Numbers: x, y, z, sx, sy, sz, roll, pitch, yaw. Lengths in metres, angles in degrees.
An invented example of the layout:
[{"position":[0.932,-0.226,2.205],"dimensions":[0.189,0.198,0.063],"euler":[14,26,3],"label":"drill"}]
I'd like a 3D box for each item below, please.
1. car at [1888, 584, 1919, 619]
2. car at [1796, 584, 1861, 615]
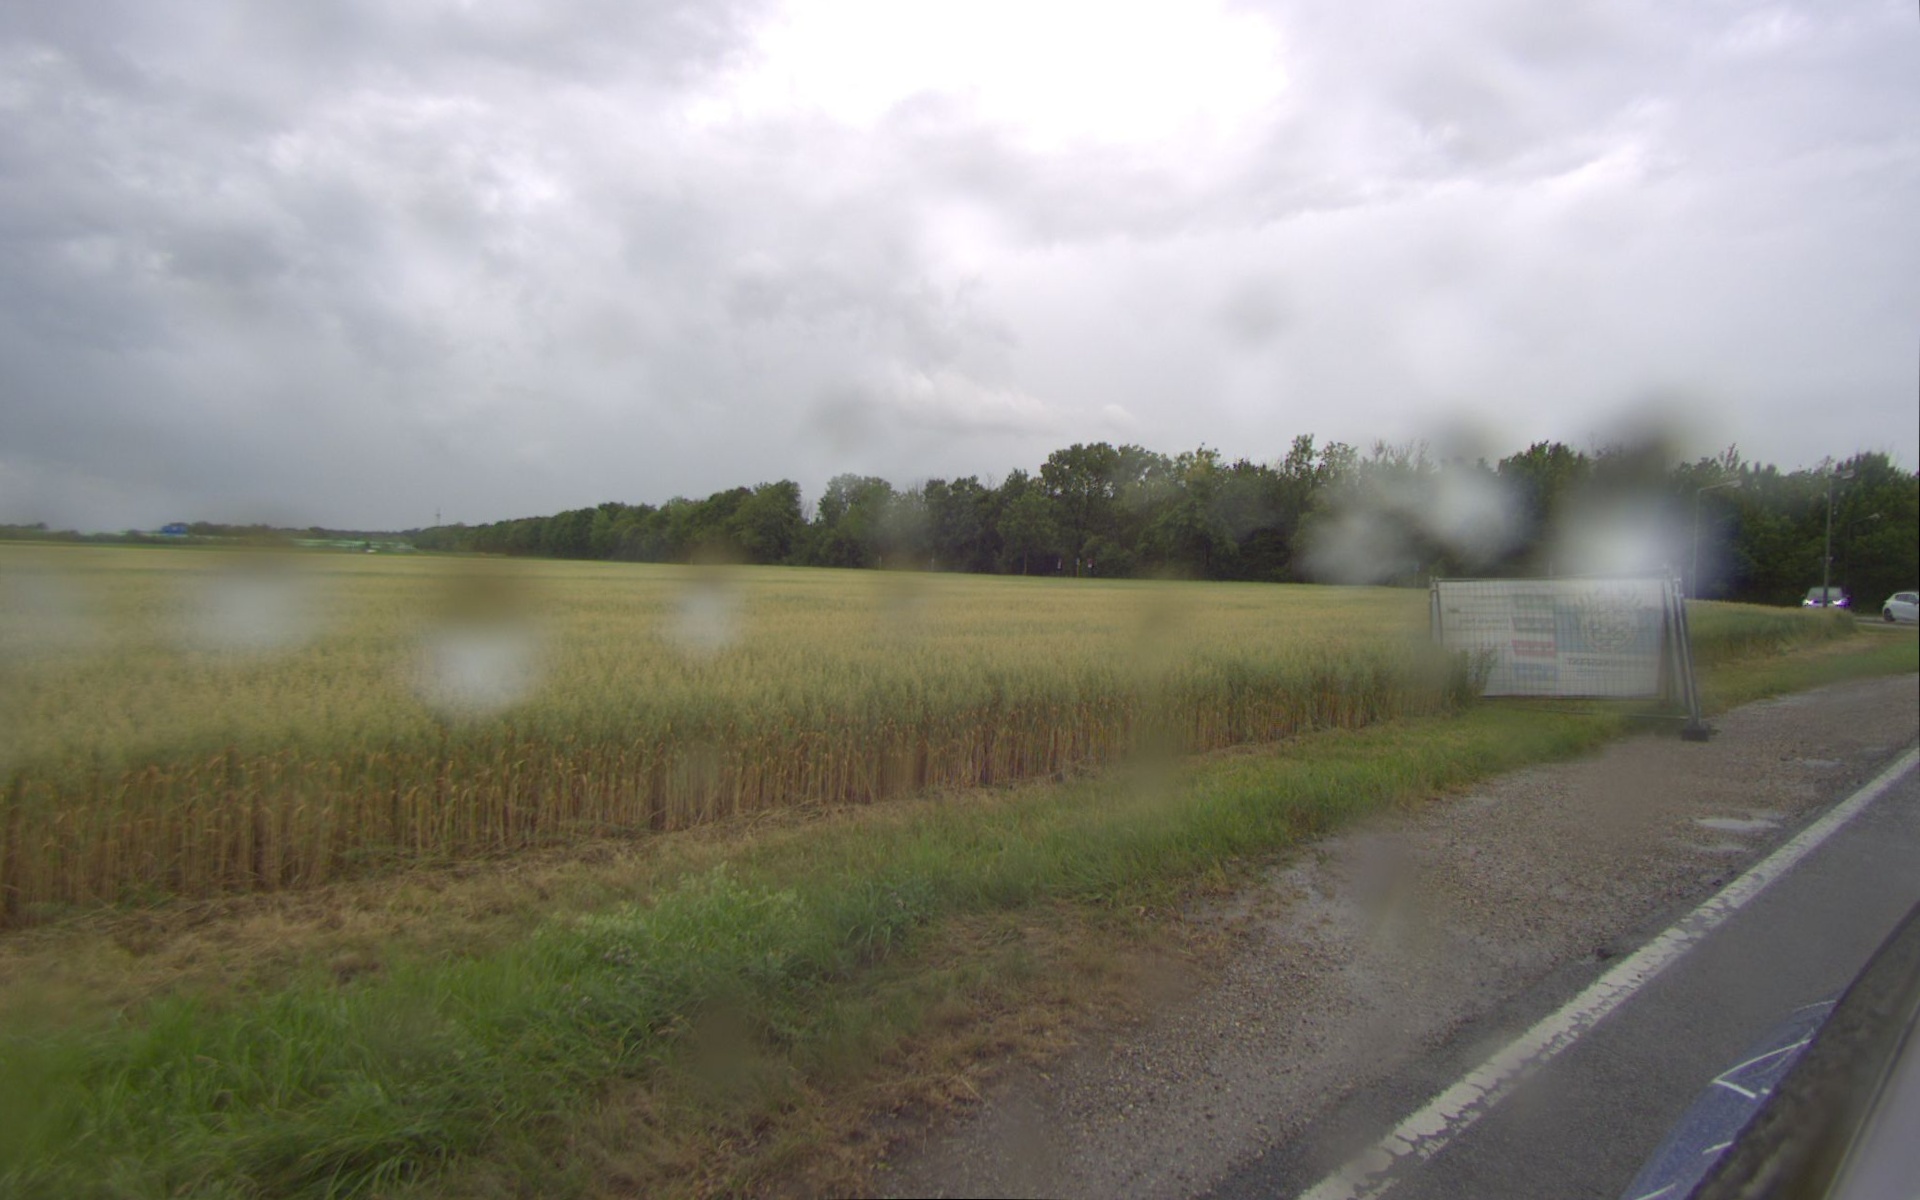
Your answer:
[{"position":[42.622,0.075,43.833],"dimensions":[1.868,1.550,4.475],"euler":[1,1,18],"label":"car"},{"position":[46.977,-0.052,54.819],"dimensions":[1.877,1.550,4.454],"euler":[1,1,30],"label":"car"}]
